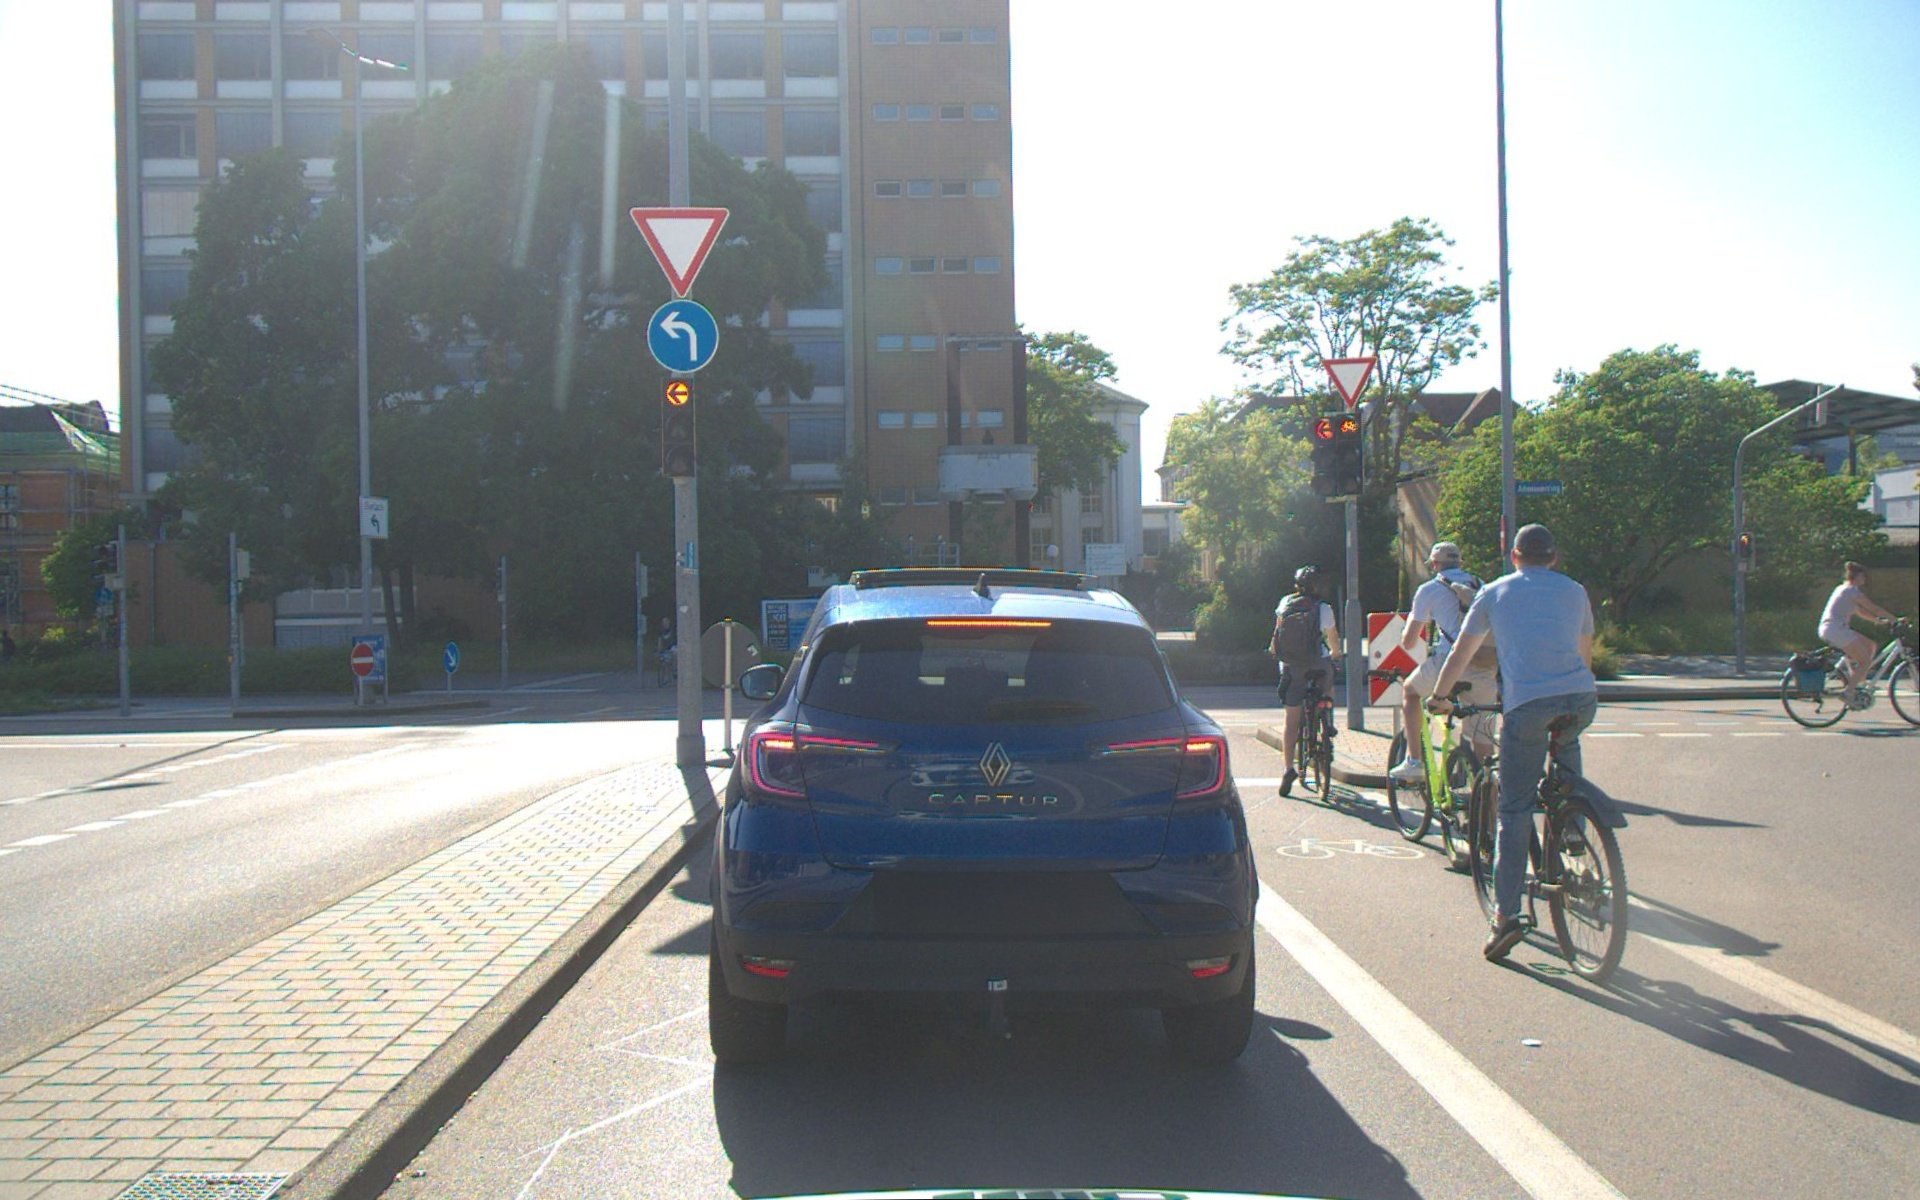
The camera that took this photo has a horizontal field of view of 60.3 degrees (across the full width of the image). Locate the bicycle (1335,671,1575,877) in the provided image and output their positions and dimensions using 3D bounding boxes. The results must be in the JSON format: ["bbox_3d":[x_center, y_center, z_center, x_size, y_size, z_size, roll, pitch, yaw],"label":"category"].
[{"bbox_3d":[2.877,0.976,9.837,0.646,1.020,1.967,1,0,-6],"label":"bicycle"}]

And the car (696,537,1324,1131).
[{"bbox_3d":[0.067,0.666,6.674,1.767,1.660,3.998,1,0,-3],"label":"car"}]

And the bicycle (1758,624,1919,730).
[{"bbox_3d":[9.602,0.801,17.473,1.942,1.012,0.742,-3,-1,9],"label":"bicycle"}]

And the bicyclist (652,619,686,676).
[{"bbox_3d":[-7.668,1.240,43.637,0.728,1.466,0.593,-1,0,-27],"label":"bicyclist"}]

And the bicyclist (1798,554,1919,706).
[{"bbox_3d":[9.578,0.313,17.467,1.046,1.526,0.742,-3,-1,9],"label":"bicyclist"}]

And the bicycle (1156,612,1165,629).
[{"bbox_3d":[11.404,1.158,94.181,0.397,0.990,1.684,1,0,3],"label":"bicycle"}]

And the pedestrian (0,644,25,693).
[{"bbox_3d":[-31.966,2.303,55.590,0.722,1.631,0.598,-1,0,24],"label":"pedestrian"}]

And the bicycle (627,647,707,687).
[{"bbox_3d":[-7.716,1.764,43.610,1.982,0.981,0.593,-1,0,-28],"label":"bicycle"}]

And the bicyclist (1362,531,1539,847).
[{"bbox_3d":[2.888,0.507,9.834,0.633,1.769,1.065,1,0,-6],"label":"bicyclist"}]

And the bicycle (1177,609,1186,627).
[{"bbox_3d":[12.680,1.036,94.582,0.397,0.990,1.684,1,0,3],"label":"bicycle"}]

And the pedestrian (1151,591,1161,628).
[{"bbox_3d":[10.796,0.519,91.188,0.465,2.049,0.523,-1,0,5],"label":"pedestrian"}]

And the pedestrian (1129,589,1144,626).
[{"bbox_3d":[9.979,0.409,93.515,0.841,2.049,0.468,-1,0,5],"label":"pedestrian"}]

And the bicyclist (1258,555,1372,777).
[{"bbox_3d":[2.765,0.499,12.968,0.711,1.657,0.969,1,0,3],"label":"bicyclist"}]

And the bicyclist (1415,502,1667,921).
[{"bbox_3d":[2.515,0.458,7.264,0.736,1.698,1.016,1,0,0],"label":"bicyclist"}]

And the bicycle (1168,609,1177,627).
[{"bbox_3d":[12.155,1.027,94.561,0.397,0.990,1.684,1,0,3],"label":"bicycle"}]

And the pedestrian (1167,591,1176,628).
[{"bbox_3d":[11.827,0.542,92.555,0.465,2.049,0.468,-1,0,5],"label":"pedestrian"}]

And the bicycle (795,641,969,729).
[{"bbox_3d":[-0.928,1.018,19.814,1.942,0.934,0.688,-3,-1,11],"label":"bicycle"}]

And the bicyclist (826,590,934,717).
[{"bbox_3d":[-0.947,0.629,19.825,1.100,1.447,0.688,-3,-1,10],"label":"bicyclist"}]

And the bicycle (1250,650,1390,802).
[{"bbox_3d":[2.767,0.934,12.916,0.723,1.012,2.174,1,0,3],"label":"bicycle"}]

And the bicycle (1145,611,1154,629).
[{"bbox_3d":[10.794,1.148,94.216,0.397,0.990,1.684,1,0,3],"label":"bicycle"}]

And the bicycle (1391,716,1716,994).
[{"bbox_3d":[2.509,1.036,7.266,0.725,0.911,1.978,1,0,0],"label":"bicycle"}]
